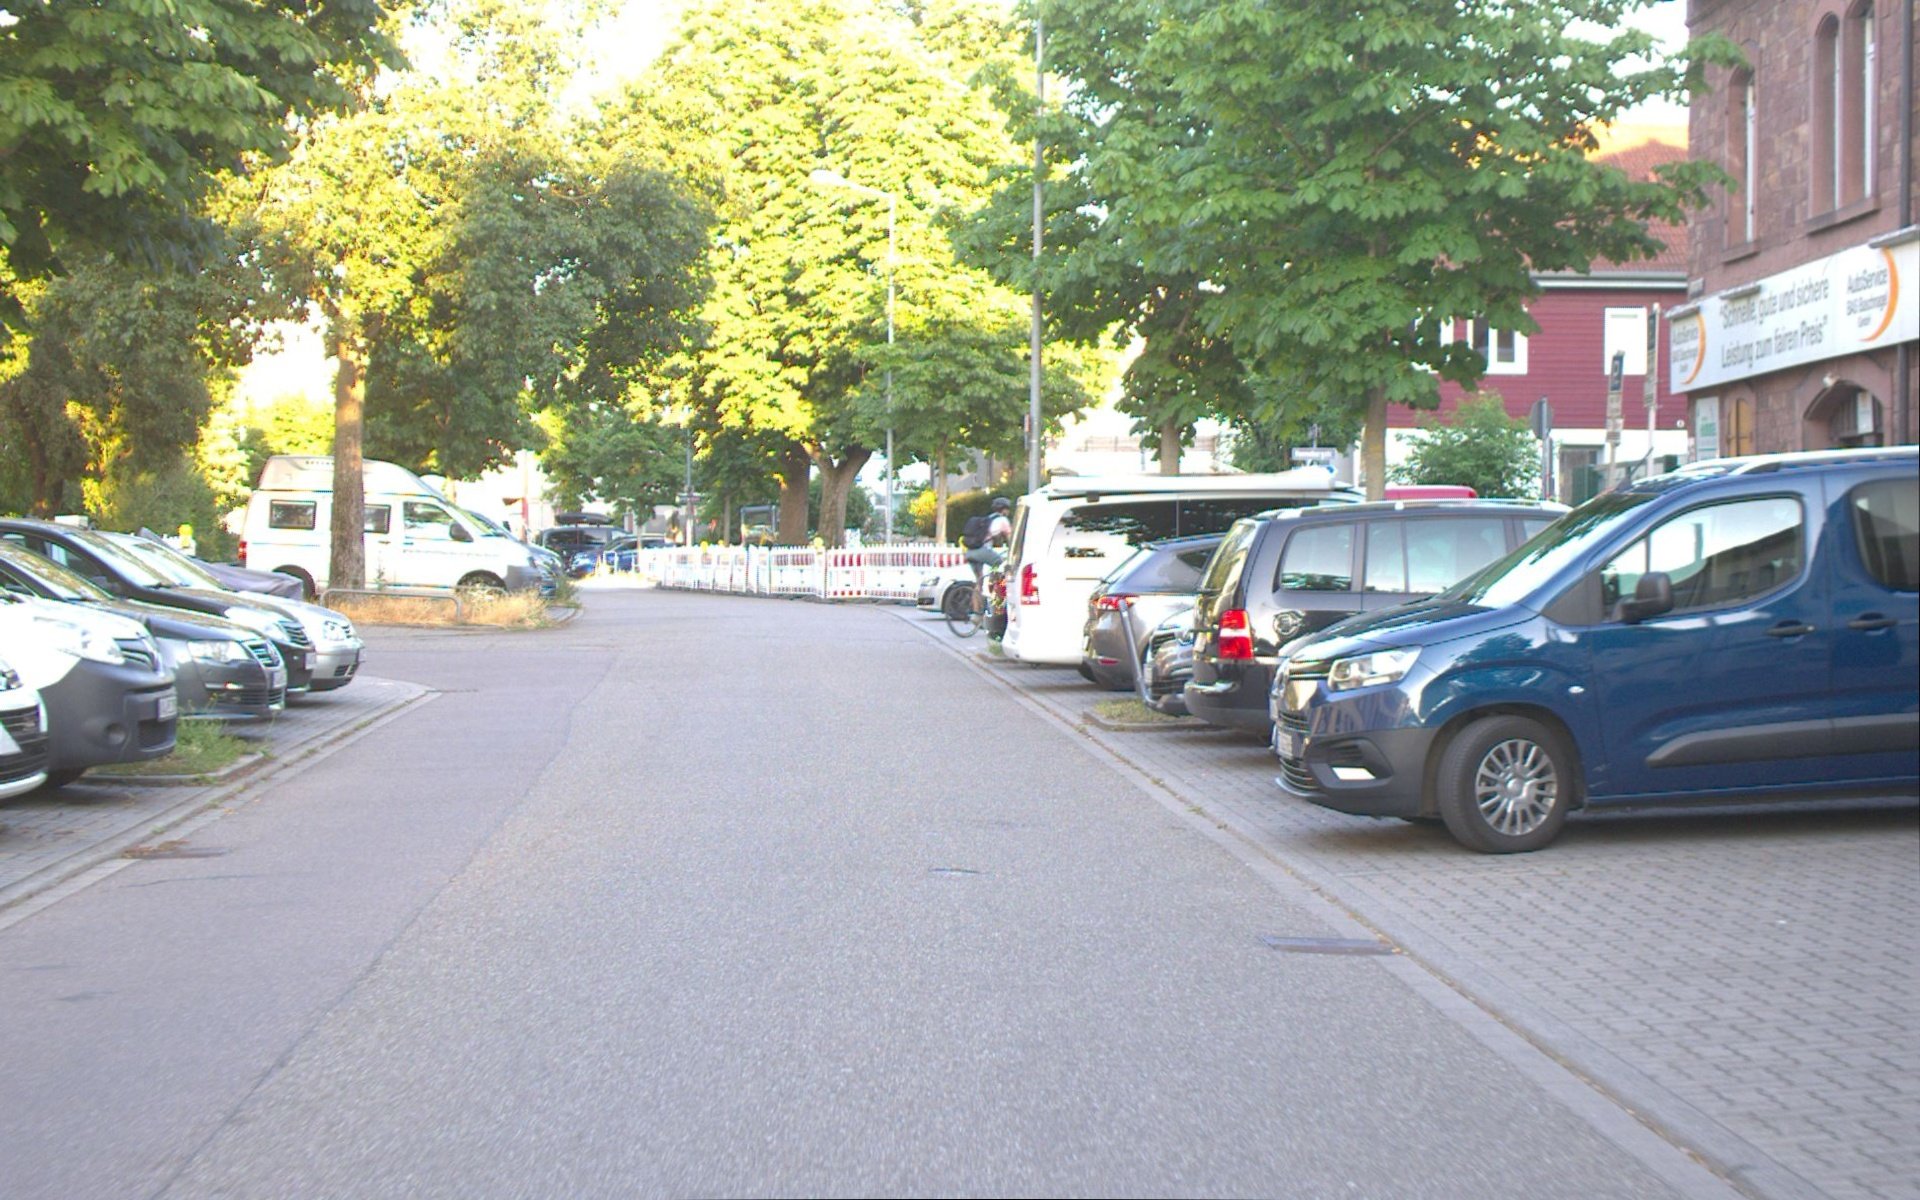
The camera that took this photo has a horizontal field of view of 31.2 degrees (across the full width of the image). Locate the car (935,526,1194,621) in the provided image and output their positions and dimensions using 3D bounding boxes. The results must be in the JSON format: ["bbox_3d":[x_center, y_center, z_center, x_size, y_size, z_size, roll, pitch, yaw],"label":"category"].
[{"bbox_3d":[1.696,-0.441,55.111,3.988,1.483,1.813,0,1,7],"label":"car"}]

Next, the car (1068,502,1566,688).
[{"bbox_3d":[2.984,-0.054,29.316,3.986,1.504,1.776,0,1,-3],"label":"car"}]

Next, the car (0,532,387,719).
[{"bbox_3d":[-6.813,0.190,28.911,3.713,1.501,1.690,0,1,0],"label":"car"}]

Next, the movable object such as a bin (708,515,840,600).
[{"bbox_3d":[-5.428,-1.237,99.703,2.627,2.394,5.199,0,1,-17],"label":"movable object such as a bin"}]

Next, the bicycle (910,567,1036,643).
[{"bbox_3d":[0.185,0.059,46.155,1.858,0.995,0.374,0,1,-38],"label":"bicycle"}]

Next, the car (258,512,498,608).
[{"bbox_3d":[-11.679,-0.805,69.079,4.672,1.867,2.001,0,1,-10],"label":"car"}]

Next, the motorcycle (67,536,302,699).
[{"bbox_3d":[-6.926,0.150,30.777,1.985,1.431,0.722,0,1,-7],"label":"motorcycle"}]

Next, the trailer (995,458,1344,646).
[{"bbox_3d":[2.477,-0.577,41.435,3.986,2.180,2.000,0,1,-3],"label":"trailer"}]

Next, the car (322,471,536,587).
[{"bbox_3d":[-11.459,-1.521,74.177,4.501,2.422,2.001,0,1,-9],"label":"car"}]

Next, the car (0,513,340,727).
[{"bbox_3d":[-6.937,0.131,26.560,3.987,1.578,1.729,0,1,0],"label":"car"}]

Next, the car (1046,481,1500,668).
[{"bbox_3d":[3.084,-0.263,34.508,4.300,1.793,1.904,0,1,-3],"label":"car"}]

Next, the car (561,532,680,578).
[{"bbox_3d":[-12.431,-1.656,125.933,3.986,1.645,1.765,0,1,-22],"label":"car"}]

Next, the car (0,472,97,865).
[{"bbox_3d":[-6.570,0.225,16.291,4.421,1.796,1.943,2,1,0],"label":"car"}]

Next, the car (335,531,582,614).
[{"bbox_3d":[-8.932,-0.493,61.454,4.243,1.389,1.684,1,1,-4],"label":"car"}]

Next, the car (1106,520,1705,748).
[{"bbox_3d":[3.139,0.229,24.719,3.945,1.560,1.821,0,1,-6],"label":"car"}]

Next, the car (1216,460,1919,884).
[{"bbox_3d":[3.796,0.255,16.765,4.786,1.748,2.018,-3,2,-3],"label":"car"}]

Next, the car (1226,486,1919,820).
[{"bbox_3d":[3.871,0.241,19.505,4.414,1.569,1.982,-3,2,-3],"label":"car"}]

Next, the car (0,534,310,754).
[{"bbox_3d":[-6.899,0.239,24.041,4.326,1.400,1.851,2,1,0],"label":"car"}]

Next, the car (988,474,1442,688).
[{"bbox_3d":[2.317,-0.183,32.066,3.986,1.897,2.000,0,1,-3],"label":"car"}]

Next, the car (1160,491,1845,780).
[{"bbox_3d":[3.415,0.201,22.167,3.986,1.613,1.895,-2,1,-3],"label":"car"}]

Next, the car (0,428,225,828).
[{"bbox_3d":[-6.600,0.008,19.050,4.512,2.063,2.000,3,2,1],"label":"car"}]

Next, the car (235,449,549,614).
[{"bbox_3d":[-9.069,-1.090,55.165,4.731,2.561,2.000,0,1,-2],"label":"car"}]

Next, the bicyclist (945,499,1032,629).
[{"bbox_3d":[0.380,-0.485,46.273,0.837,1.720,0.801,0,1,-37],"label":"bicyclist"}]

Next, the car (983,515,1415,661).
[{"bbox_3d":[2.513,-0.139,36.864,4.426,1.494,1.773,0,1,-2],"label":"car"}]
